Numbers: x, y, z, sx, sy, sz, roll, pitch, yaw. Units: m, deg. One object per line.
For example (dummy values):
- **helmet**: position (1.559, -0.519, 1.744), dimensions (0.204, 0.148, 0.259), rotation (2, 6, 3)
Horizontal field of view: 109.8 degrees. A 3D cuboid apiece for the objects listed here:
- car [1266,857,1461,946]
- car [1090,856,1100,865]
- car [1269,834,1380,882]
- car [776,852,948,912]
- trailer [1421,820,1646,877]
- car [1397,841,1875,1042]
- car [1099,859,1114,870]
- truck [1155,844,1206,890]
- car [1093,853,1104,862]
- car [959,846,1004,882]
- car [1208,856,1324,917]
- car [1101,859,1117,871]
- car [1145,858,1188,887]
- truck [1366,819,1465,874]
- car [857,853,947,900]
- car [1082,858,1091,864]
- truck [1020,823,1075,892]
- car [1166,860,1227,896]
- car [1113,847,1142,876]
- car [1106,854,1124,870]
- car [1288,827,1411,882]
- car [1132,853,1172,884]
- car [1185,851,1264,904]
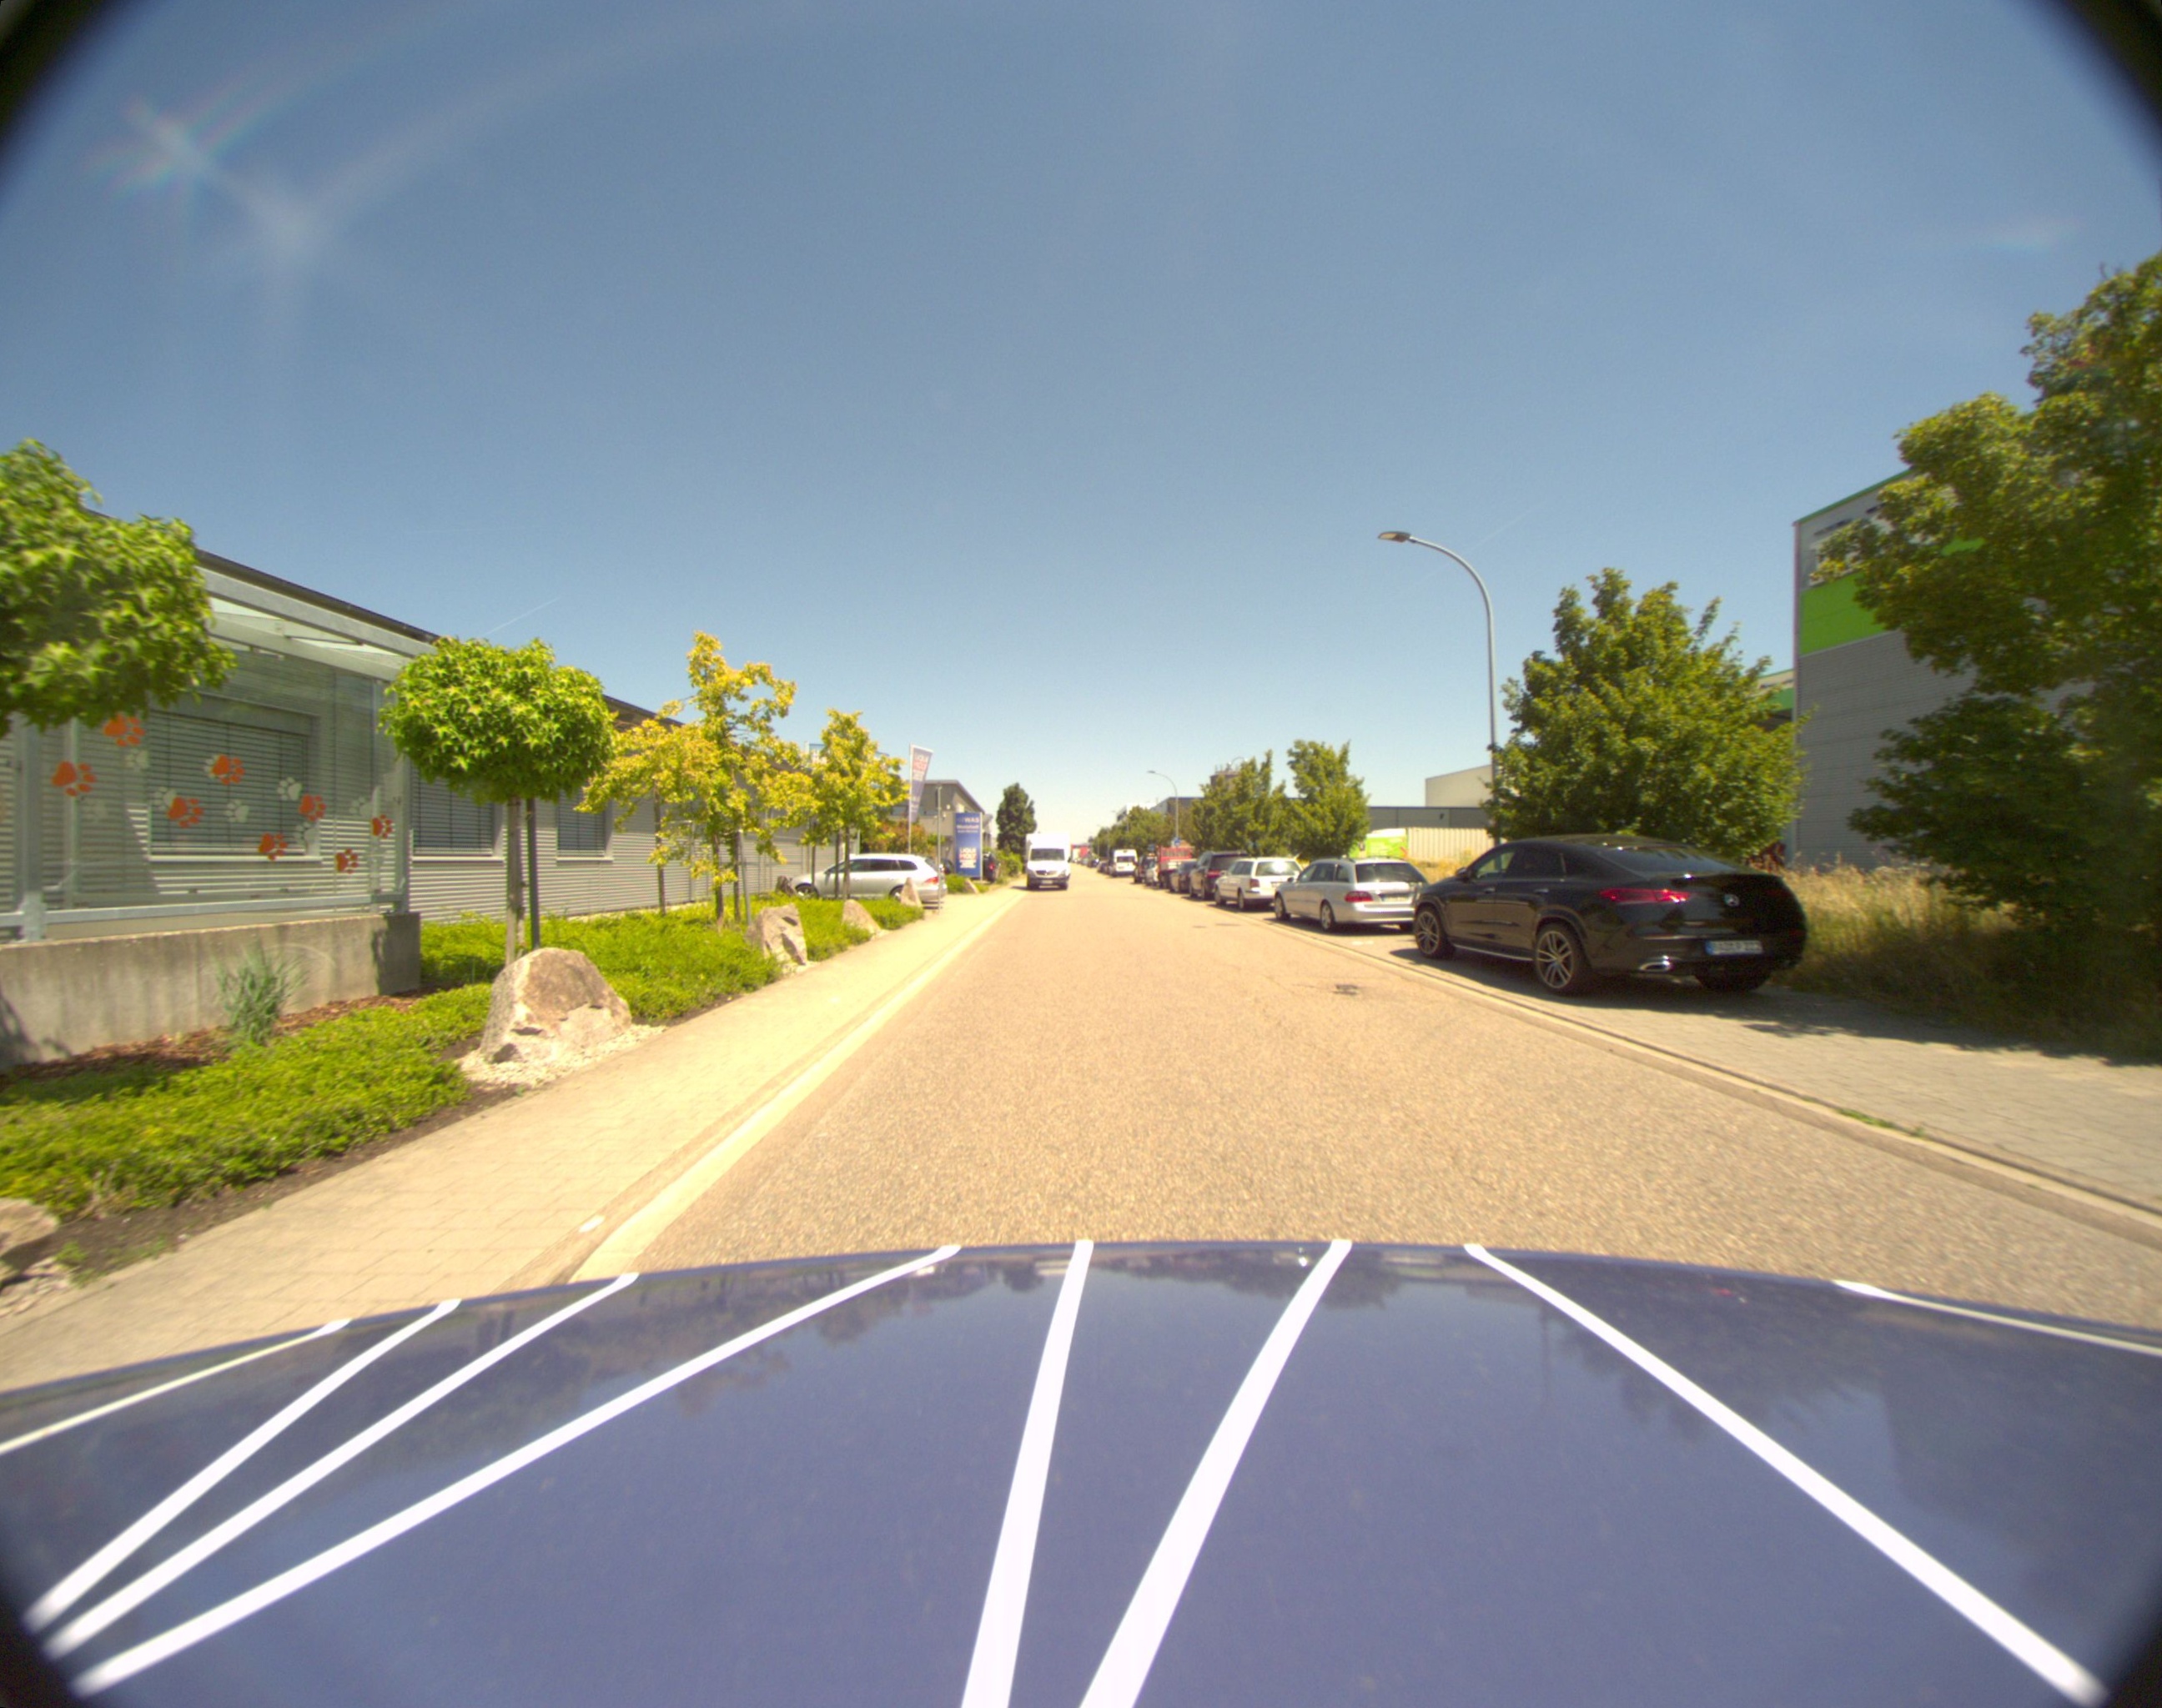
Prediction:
- **car**: position (5.605, 0.853, 15.939), dimensions (1.857, 1.510, 5.165), rotation (-1, 0, -4)
- **car**: position (2.772, 1.254, 153.639), dimensions (1.799, 1.701, 3.830), rotation (-1, 0, -2)
- **car**: position (14.877, 0.236, 46.637), dimensions (5.990, 2.808, 2.520), rotation (-1, 0, -2)
- **car**: position (-6.005, 0.757, 21.246), dimensions (4.292, 1.532, 1.912), rotation (1, 0, -4)
- **trailer**: position (34.559, -0.400, 58.464), dimensions (15.360, 4.063, 3.219), rotation (1, 0, 0)
- **car**: position (5.903, 0.778, 9.146), dimensions (1.996, 1.703, 5.006), rotation (-1, 0, -1)
- **car**: position (3.540, 1.437, 106.055), dimensions (1.799, 1.477, 4.189), rotation (-1, 0, -2)
- **truck**: position (5.052, 0.654, 39.192), dimensions (1.856, 2.209, 4.645), rotation (-1, 0, -2)
- **car**: position (3.281, 0.568, 143.657), dimensions (1.799, 1.638, 3.830), rotation (1, 0, -2)
- **car**: position (-5.764, 0.552, 44.772), dimensions (1.999, 2.002, 5.336), rotation (0, 0, -1)
- **car**: position (5.214, 0.856, 22.144), dimensions (1.857, 1.510, 4.903), rotation (-1, 0, -4)
- **car**: position (3.634, 1.413, 100.428), dimensions (1.799, 1.477, 4.451), rotation (-1, 0, -2)
- **car**: position (4.854, 1.051, 43.690), dimensions (1.856, 1.541, 3.766), rotation (-1, 0, -3)
- **truck**: position (25.579, -0.539, 58.400), dimensions (6.121, 4.063, 3.219), rotation (1, 0, 0)
- **car**: position (-6.107, 0.762, 26.116), dimensions (2.713, 1.532, 1.413), rotation (1, 0, 0)
- **car**: position (1.333, 1.674, 184.498), dimensions (1.799, 1.319, 3.830), rotation (-1, 0, -2)
- **truck**: position (-1.605, 0.176, 38.895), dimensions (2.463, 3.186, 6.882), rotation (0, 0, 0)
- **car**: position (5.008, 1.005, 33.655), dimensions (1.856, 1.435, 4.753), rotation (-1, 0, -1)
- **car**: position (4.290, 0.707, 71.038), dimensions (2.329, 2.583, 6.085), rotation (-1, 0, 0)
- **car**: position (3.900, 0.934, 87.747), dimensions (1.836, 1.800, 4.082), rotation (-1, 0, 0)
- **car**: position (14.908, 0.045, 42.463), dimensions (5.990, 2.908, 2.520), rotation (-1, 0, -2)
- **car**: position (4.631, 0.929, 50.067), dimensions (1.979, 1.889, 5.401), rotation (-1, 0, -1)
- **car**: position (5.111, 0.793, 27.791), dimensions (1.856, 1.748, 4.986), rotation (-1, 0, -1)
